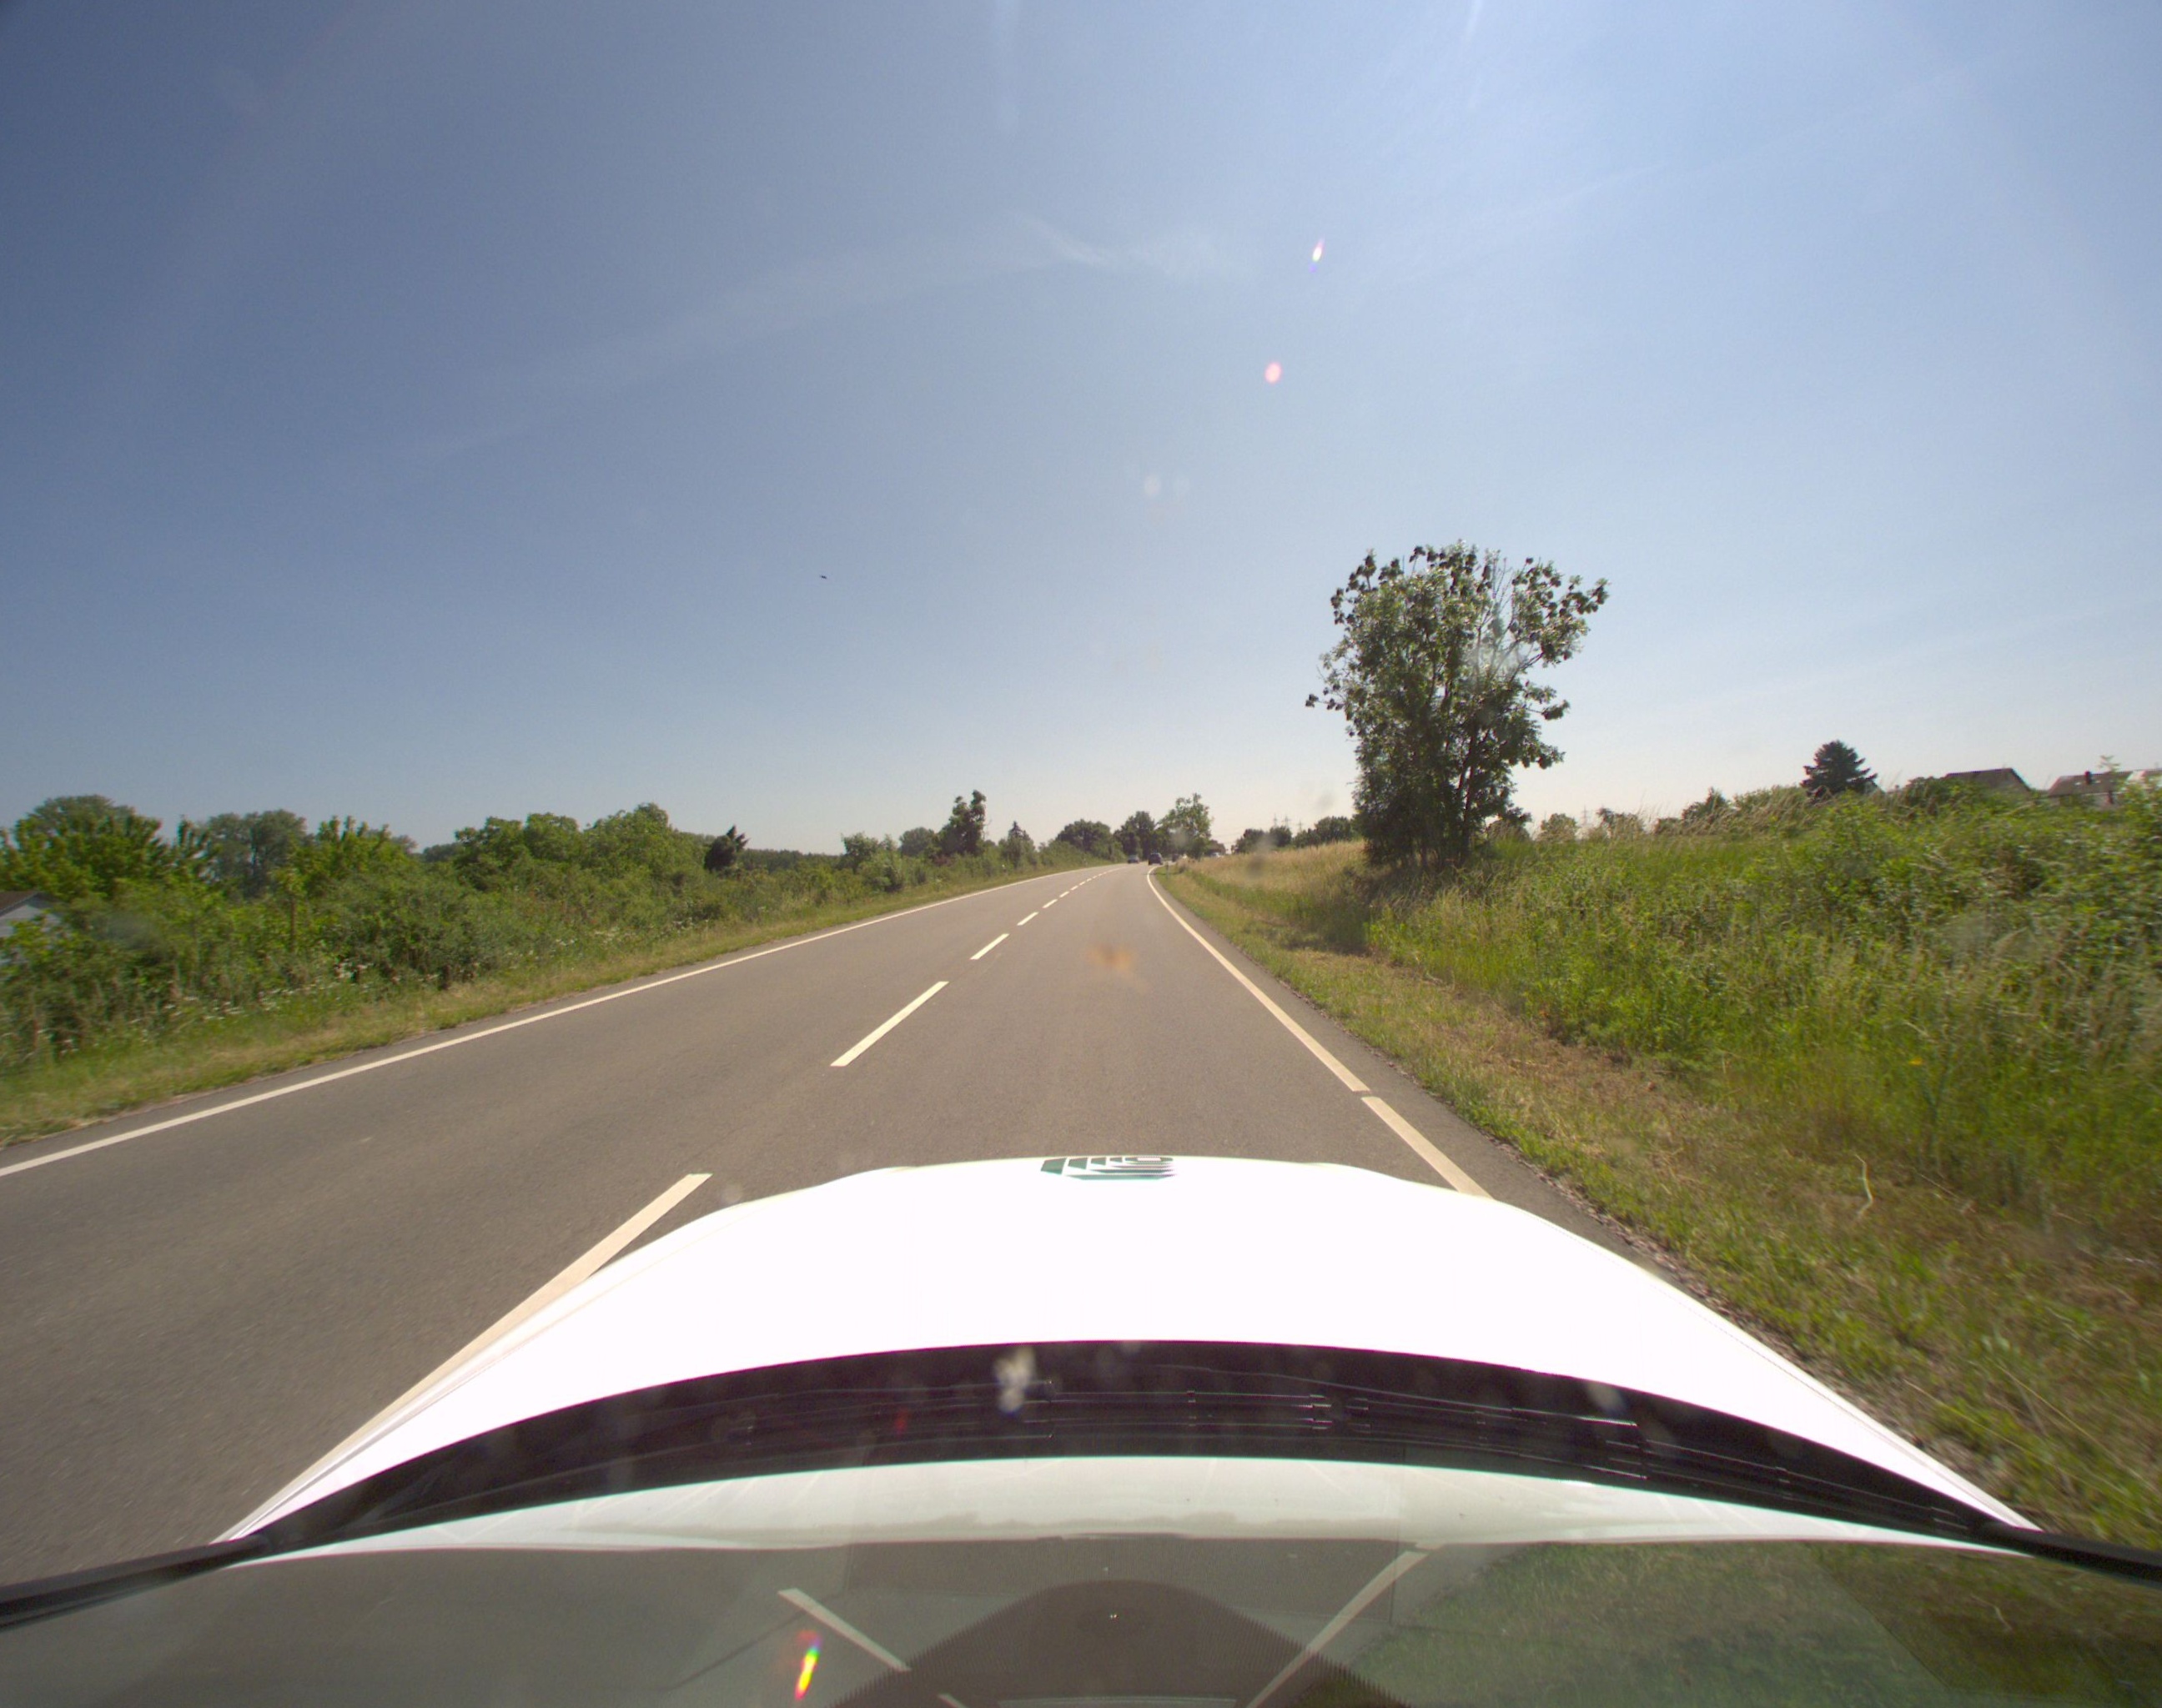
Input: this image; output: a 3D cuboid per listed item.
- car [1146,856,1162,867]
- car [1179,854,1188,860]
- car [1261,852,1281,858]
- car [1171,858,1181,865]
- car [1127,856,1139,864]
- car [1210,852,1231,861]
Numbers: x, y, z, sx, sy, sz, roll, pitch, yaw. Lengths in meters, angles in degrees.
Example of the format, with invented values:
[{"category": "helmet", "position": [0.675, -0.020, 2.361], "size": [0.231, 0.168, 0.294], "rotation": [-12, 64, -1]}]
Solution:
[{"category": "car", "position": [10.540, 1.129, 117.339], "size": [1.872, 1.518, 4.052], "rotation": [-1, -1, 11]}, {"category": "car", "position": [25.015, 0.680, 198.963], "size": [1.824, 1.418, 4.727], "rotation": [-1, 0, 9]}, {"category": "car", "position": [44.049, 0.238, 188.628], "size": [4.114, 1.418, 1.790], "rotation": [-2, -1, 26]}, {"category": "car", "position": [17.730, 1.357, 152.007], "size": [1.633, 1.341, 4.052], "rotation": [-1, -1, 11]}, {"category": "car", "position": [8.751, 1.055, 136.515], "size": [1.683, 1.362, 3.834], "rotation": [0, -1, 7]}, {"category": "car", "position": [28.551, 0.456, 166.705], "size": [4.163, 1.623, 2.047], "rotation": [-2, -1, -39]}]
